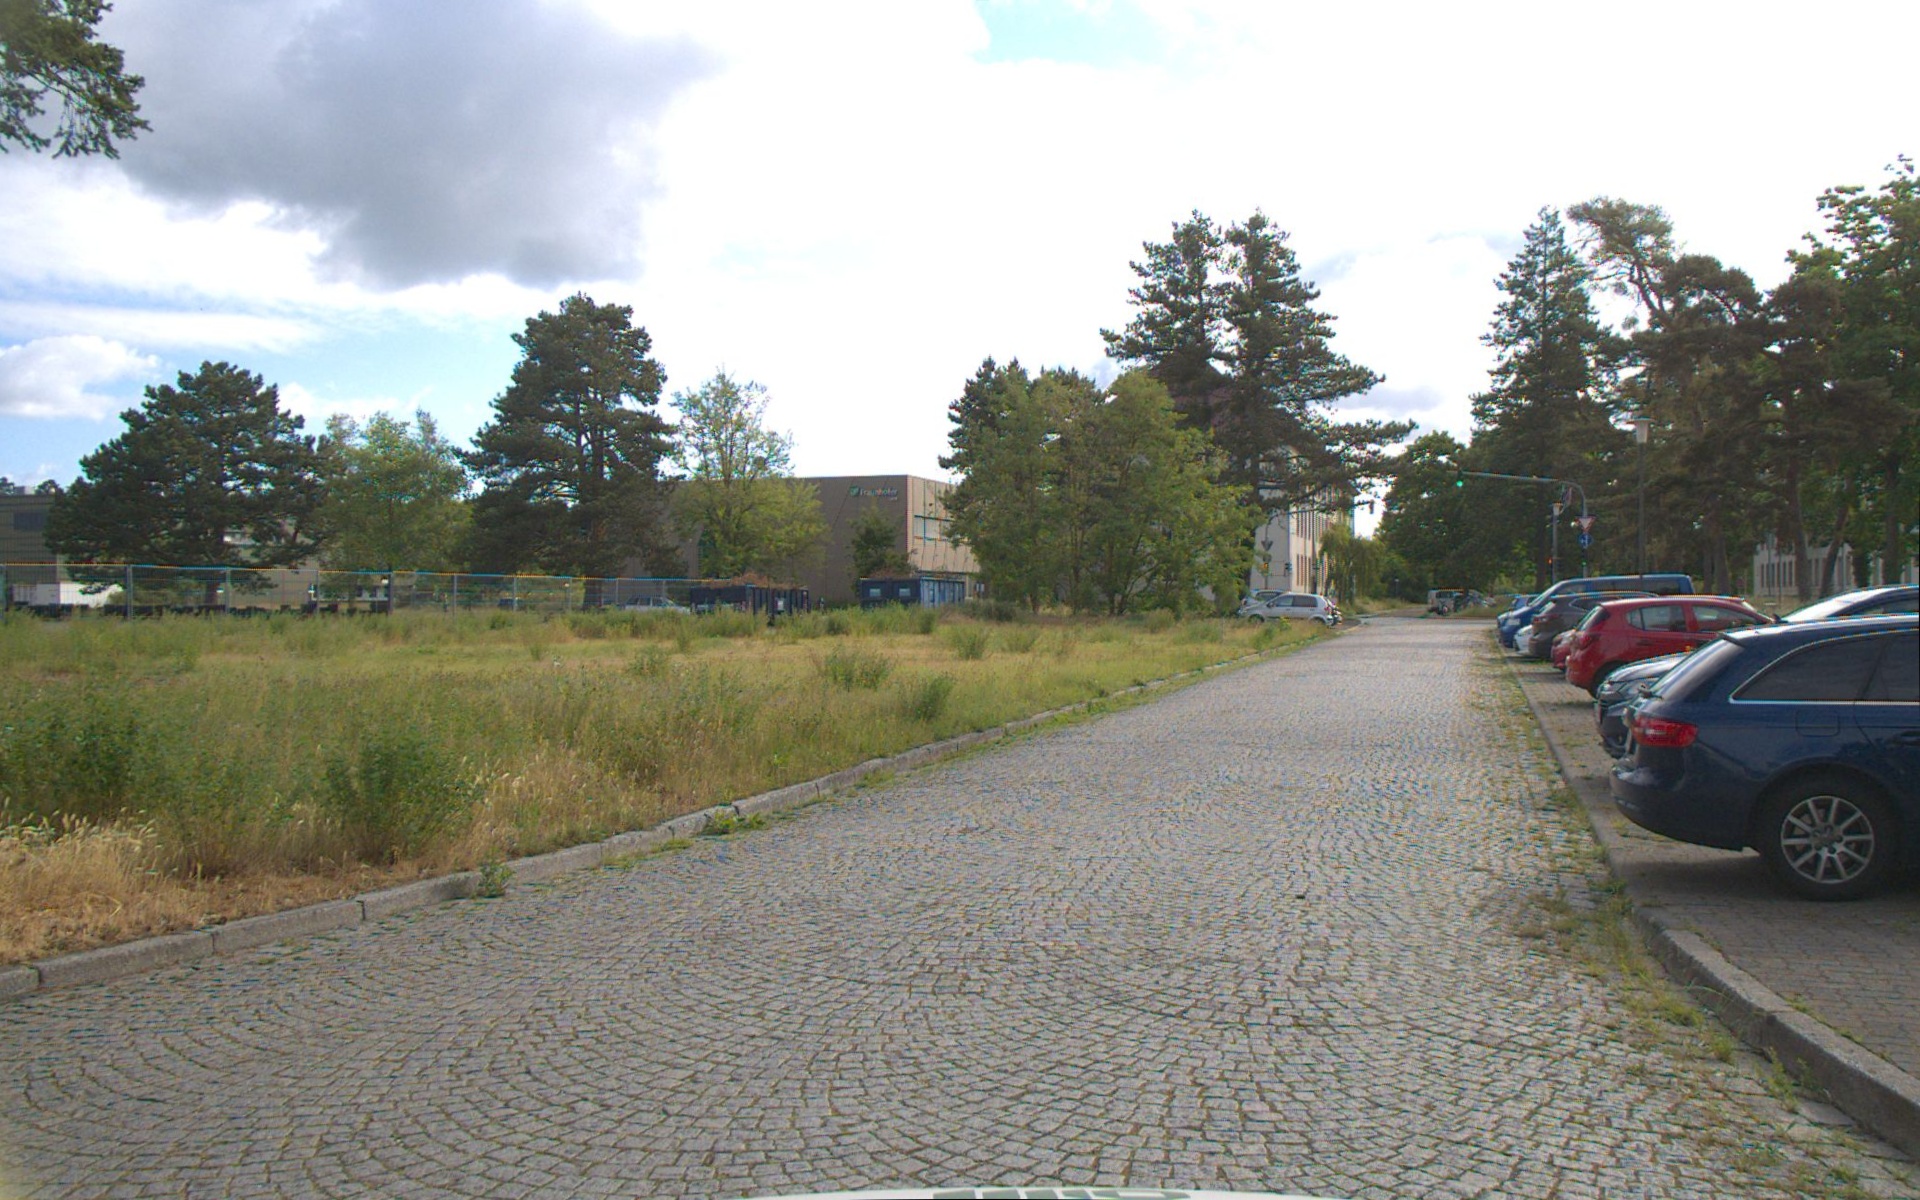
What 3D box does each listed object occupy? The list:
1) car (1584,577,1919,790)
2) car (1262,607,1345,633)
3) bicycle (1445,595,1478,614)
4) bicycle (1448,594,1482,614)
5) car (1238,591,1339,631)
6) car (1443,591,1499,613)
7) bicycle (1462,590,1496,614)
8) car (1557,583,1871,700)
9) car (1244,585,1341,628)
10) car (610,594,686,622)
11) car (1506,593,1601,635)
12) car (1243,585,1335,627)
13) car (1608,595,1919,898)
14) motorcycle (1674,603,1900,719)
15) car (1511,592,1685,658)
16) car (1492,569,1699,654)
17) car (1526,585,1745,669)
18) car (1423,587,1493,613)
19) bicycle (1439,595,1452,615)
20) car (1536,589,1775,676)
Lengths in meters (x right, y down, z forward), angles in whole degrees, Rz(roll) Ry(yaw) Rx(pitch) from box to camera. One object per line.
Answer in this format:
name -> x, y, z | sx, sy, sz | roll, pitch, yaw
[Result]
car -> 7.378, 0.626, 13.421 | 4.173, 1.601, 1.896 | -2, 0, 17
car -> 15.362, 0.902, 74.086 | 3.592, 1.113, 1.648 | 0, 0, 11
bicycle -> 34.550, 0.280, 113.972 | 2.114, 1.290, 0.813 | 0, 0, 11
bicycle -> 34.264, 0.270, 112.175 | 2.114, 1.290, 0.813 | 0, 0, 11
car -> 13.235, 0.424, 66.640 | 3.901, 1.579, 2.002 | 0, 0, 11
car -> 38.888, 0.120, 125.977 | 3.902, 1.673, 2.002 | 0, 0, 11
bicycle -> 35.509, 0.118, 113.141 | 2.114, 1.644, 0.813 | 0, 0, 11
car -> 10.454, 0.569, 23.222 | 3.758, 1.532, 1.739 | -1, 0, 16
car -> 13.887, 0.251, 69.085 | 3.901, 1.735, 2.002 | 0, 0, 11
car -> -17.881, 0.460, 94.795 | 3.903, 1.580, 1.810 | 0, 0, 17
car -> 23.046, 0.543, 64.320 | 3.316, 1.570, 1.392 | 0, 0, 12
car -> 14.300, 0.241, 72.048 | 3.902, 1.780, 1.929 | 0, 0, 10
car -> 5.890, 0.715, 8.887 | 4.412, 1.490, 1.895 | -2, 0, 21
motorcycle -> 9.471, 0.695, 19.013 | 2.216, 1.297, 0.606 | -1, 0, 12
car -> 15.068, 0.582, 39.248 | 3.643, 1.449, 1.656 | -2, 0, 15
car -> 15.895, 0.285, 41.599 | 4.681, 2.075, 1.739 | 0, 0, 15
car -> 13.422, 0.508, 33.086 | 3.866, 1.608, 1.763 | 0, 0, 16
car -> 38.946, -0.006, 129.400 | 4.943, 2.049, 2.002 | 0, 0, 7
bicycle -> 31.993, 0.320, 108.950 | 0.793, 1.290, 1.974 | 0, 0, 18
car -> 12.780, 0.578, 30.635 | 3.903, 1.545, 1.739 | 0, 0, 17
